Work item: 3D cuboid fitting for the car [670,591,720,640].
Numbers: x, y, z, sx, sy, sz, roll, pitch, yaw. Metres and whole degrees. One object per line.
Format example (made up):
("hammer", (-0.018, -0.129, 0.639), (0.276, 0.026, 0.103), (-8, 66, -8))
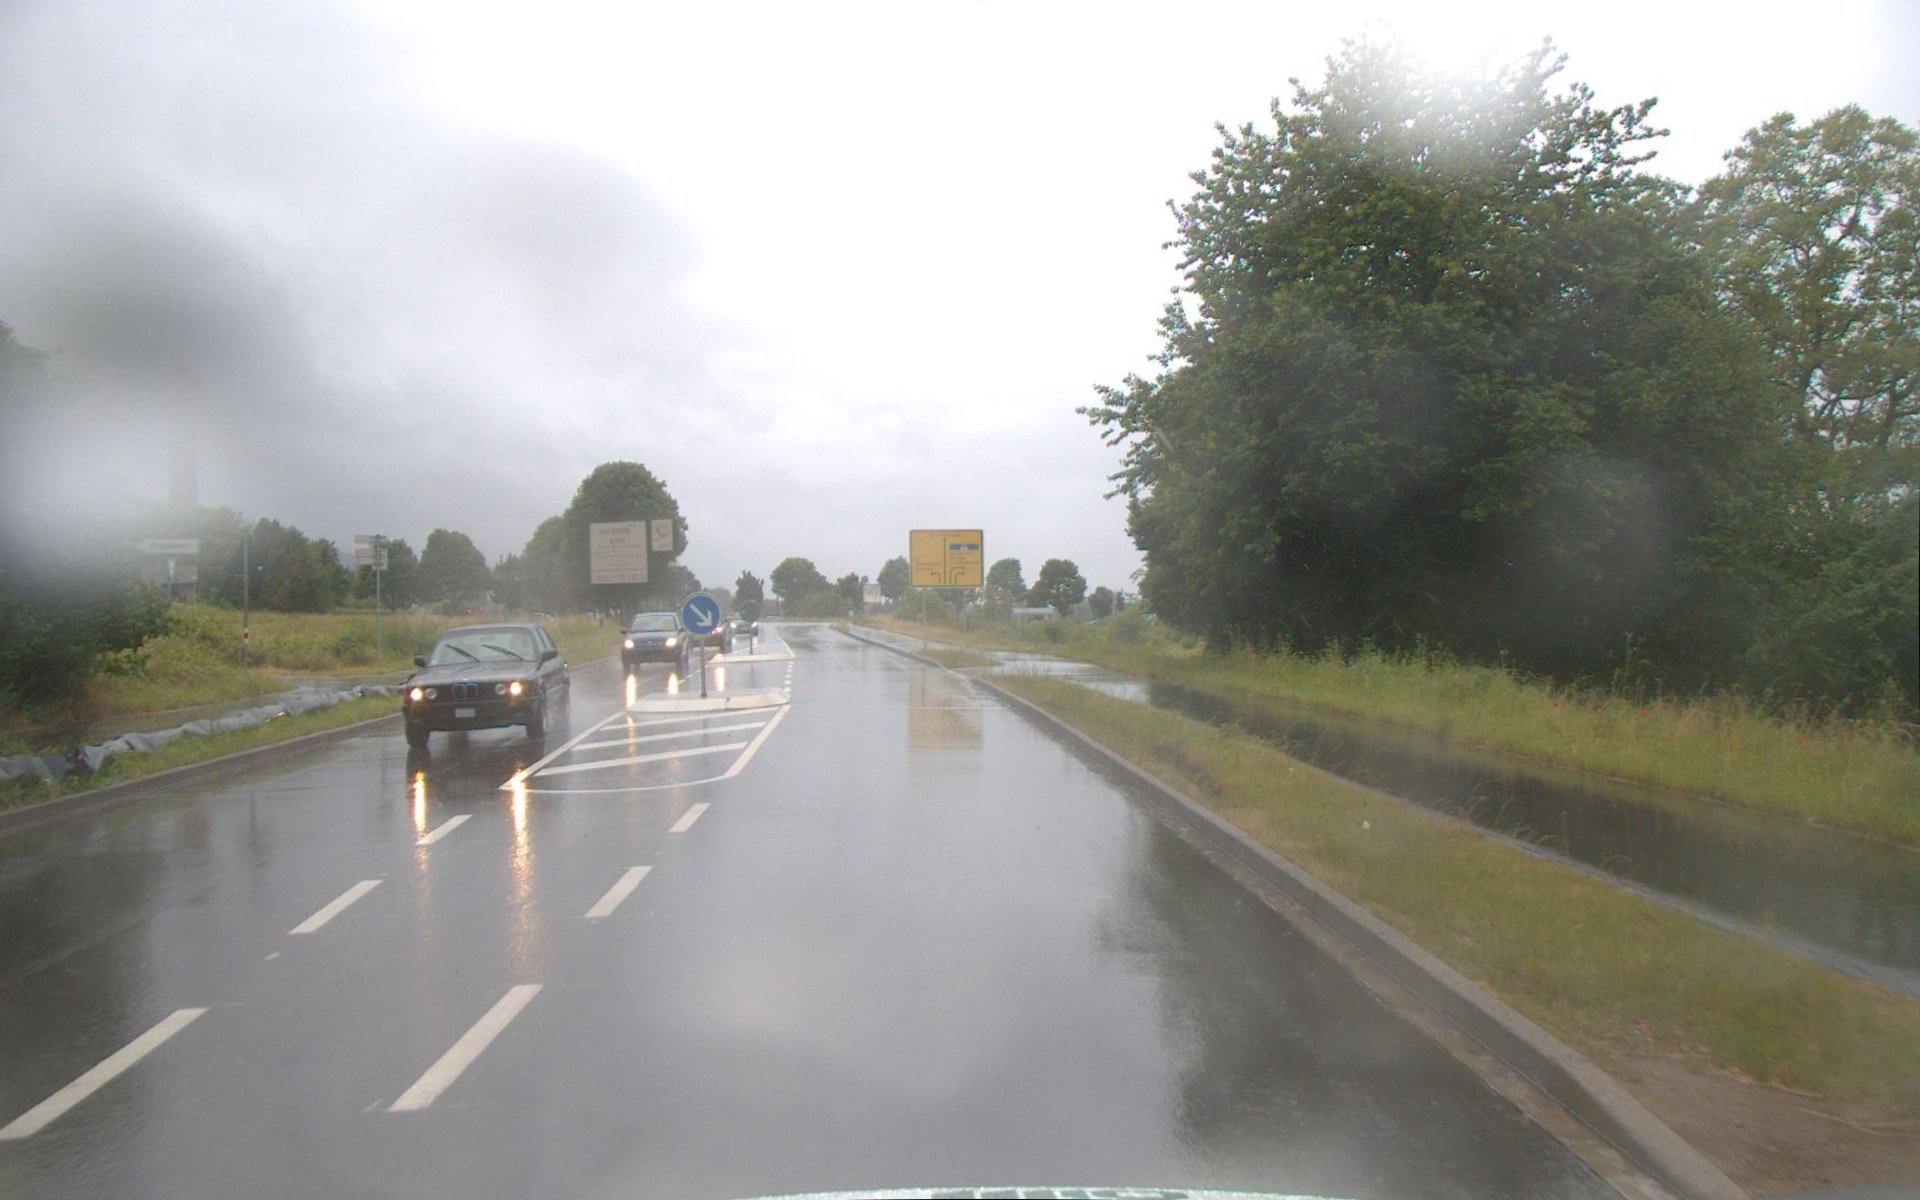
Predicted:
("car", (-10.219, 0.575, 64.098), (1.709, 1.748, 4.260), (-3, 0, -7))

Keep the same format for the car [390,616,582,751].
("car", (-5.879, 0.965, 20.966), (1.651, 1.407, 4.218), (-3, 0, -7))

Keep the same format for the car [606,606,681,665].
("car", (-8.771, 0.963, 46.037), (1.708, 1.470, 3.677), (-3, 0, -7))

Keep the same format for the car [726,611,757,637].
("car", (-13.430, 1.460, 101.663), (1.664, 1.426, 3.763), (-3, 0, -5))
